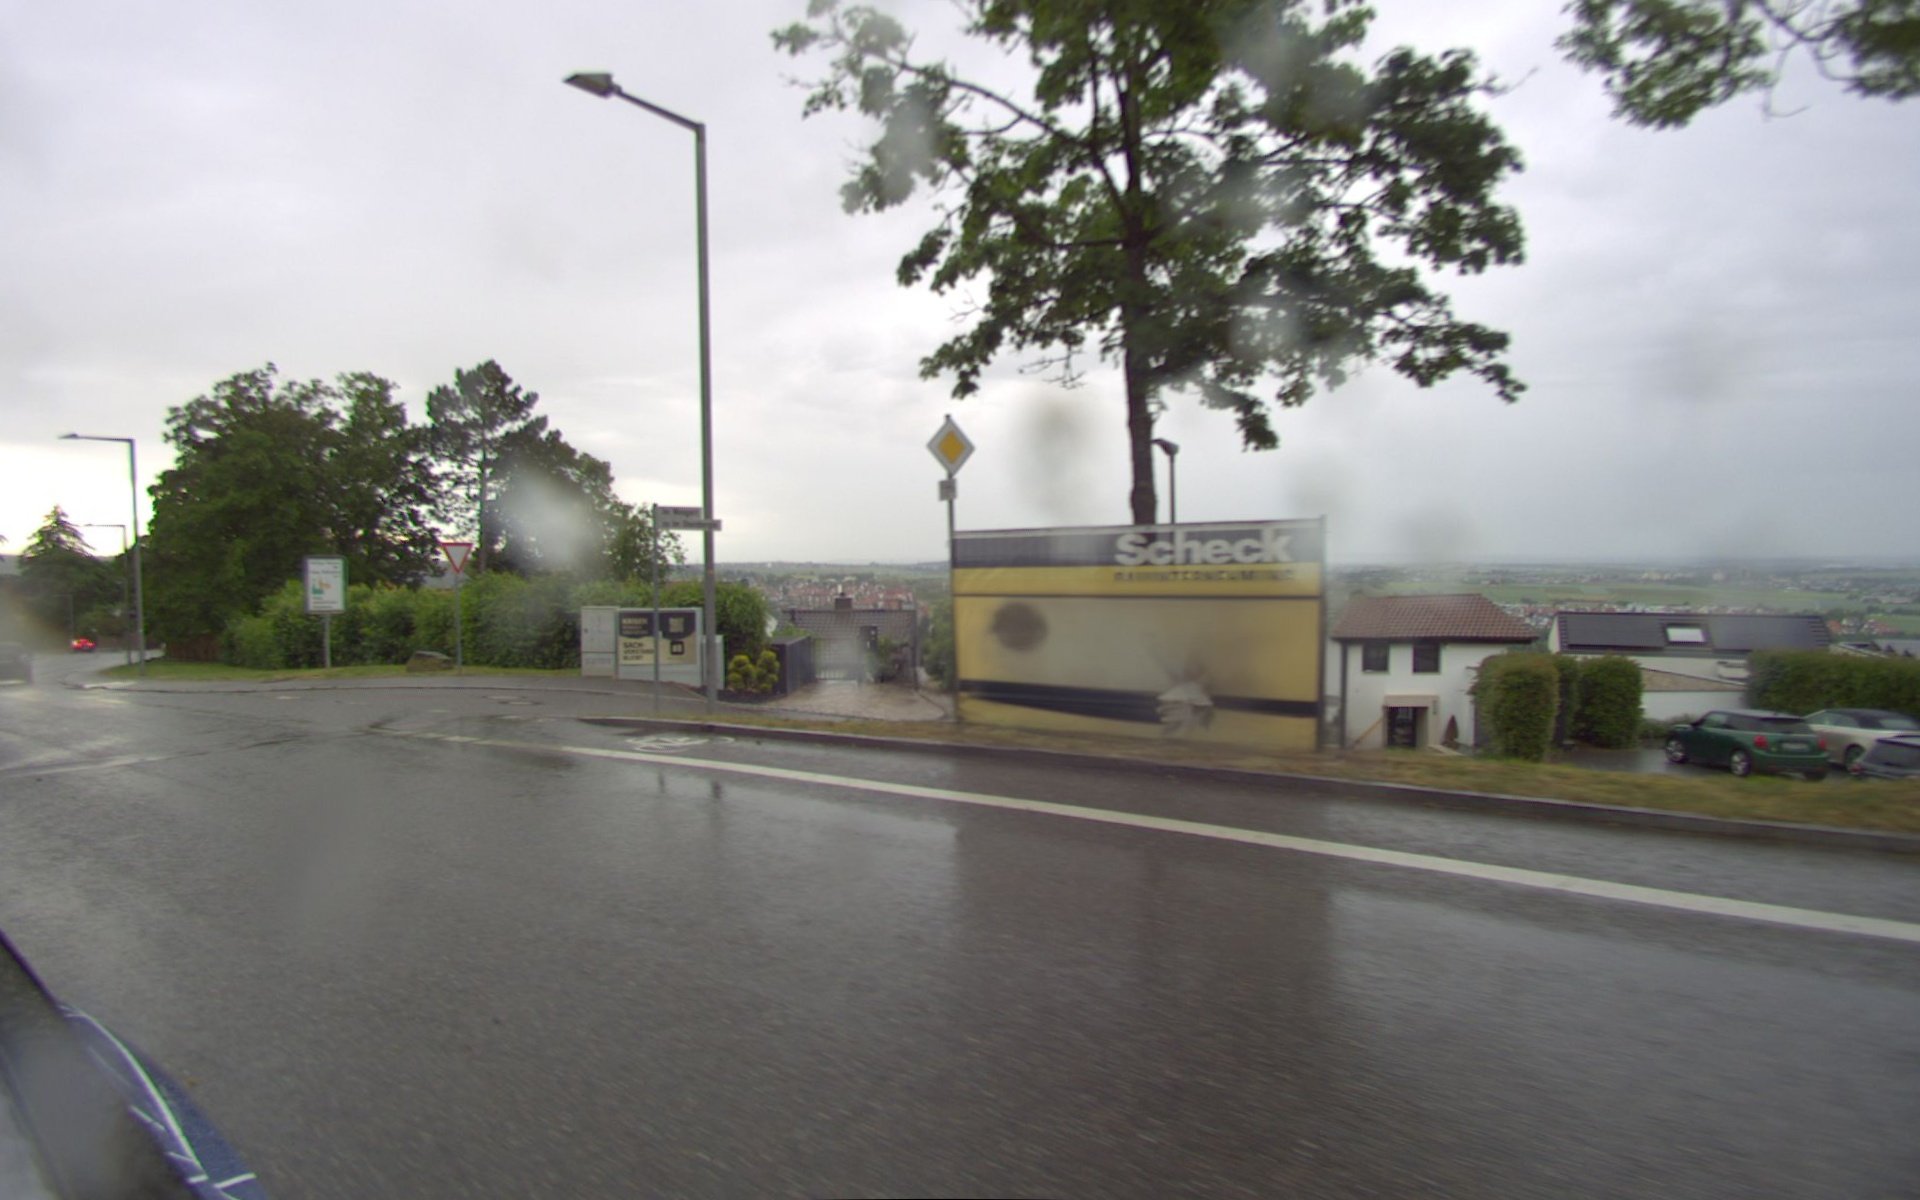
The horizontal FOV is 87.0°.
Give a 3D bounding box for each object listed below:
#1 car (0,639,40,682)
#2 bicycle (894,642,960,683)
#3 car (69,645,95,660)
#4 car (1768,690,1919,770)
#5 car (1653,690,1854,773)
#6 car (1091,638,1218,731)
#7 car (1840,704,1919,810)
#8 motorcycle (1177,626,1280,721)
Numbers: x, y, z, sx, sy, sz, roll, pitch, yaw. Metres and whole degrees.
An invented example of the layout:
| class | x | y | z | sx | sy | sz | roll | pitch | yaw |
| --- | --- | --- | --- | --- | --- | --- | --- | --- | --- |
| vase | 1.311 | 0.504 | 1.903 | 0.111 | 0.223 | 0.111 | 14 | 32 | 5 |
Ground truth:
| class | x | y | z | sx | sy | sz | roll | pitch | yaw |
| --- | --- | --- | --- | --- | --- | --- | --- | --- | --- |
| car | -37.184 | 2.330 | 39.508 | 1.810 | 1.532 | 4.631 | -1 | -1 | -43 |
| bicycle | -0.832 | 1.591 | 25.885 | 1.647 | 0.972 | 0.429 | 1 | 0 | 2 |
| car | -107.028 | 6.405 | 123.324 | 4.546 | 1.660 | 1.897 | -2 | -1 | 43 |
| car | 21.197 | 2.958 | 23.584 | 1.863 | 1.367 | 3.989 | -2 | -1 | 8 |
| car | 18.183 | 2.976 | 23.462 | 1.863 | 1.427 | 3.989 | -2 | -1 | 8 |
| car | 4.258 | 1.819 | 22.849 | 1.761 | 1.262 | 4.251 | 3 | 5 | -3 |
| car | 16.168 | 2.497 | 15.239 | 3.951 | 1.427 | 1.881 | 3 | -1 | 6 |
| motorcycle | 6.089 | 1.608 | 23.312 | 1.201 | 1.274 | 3.879 | -4 | 9 | -1 |
